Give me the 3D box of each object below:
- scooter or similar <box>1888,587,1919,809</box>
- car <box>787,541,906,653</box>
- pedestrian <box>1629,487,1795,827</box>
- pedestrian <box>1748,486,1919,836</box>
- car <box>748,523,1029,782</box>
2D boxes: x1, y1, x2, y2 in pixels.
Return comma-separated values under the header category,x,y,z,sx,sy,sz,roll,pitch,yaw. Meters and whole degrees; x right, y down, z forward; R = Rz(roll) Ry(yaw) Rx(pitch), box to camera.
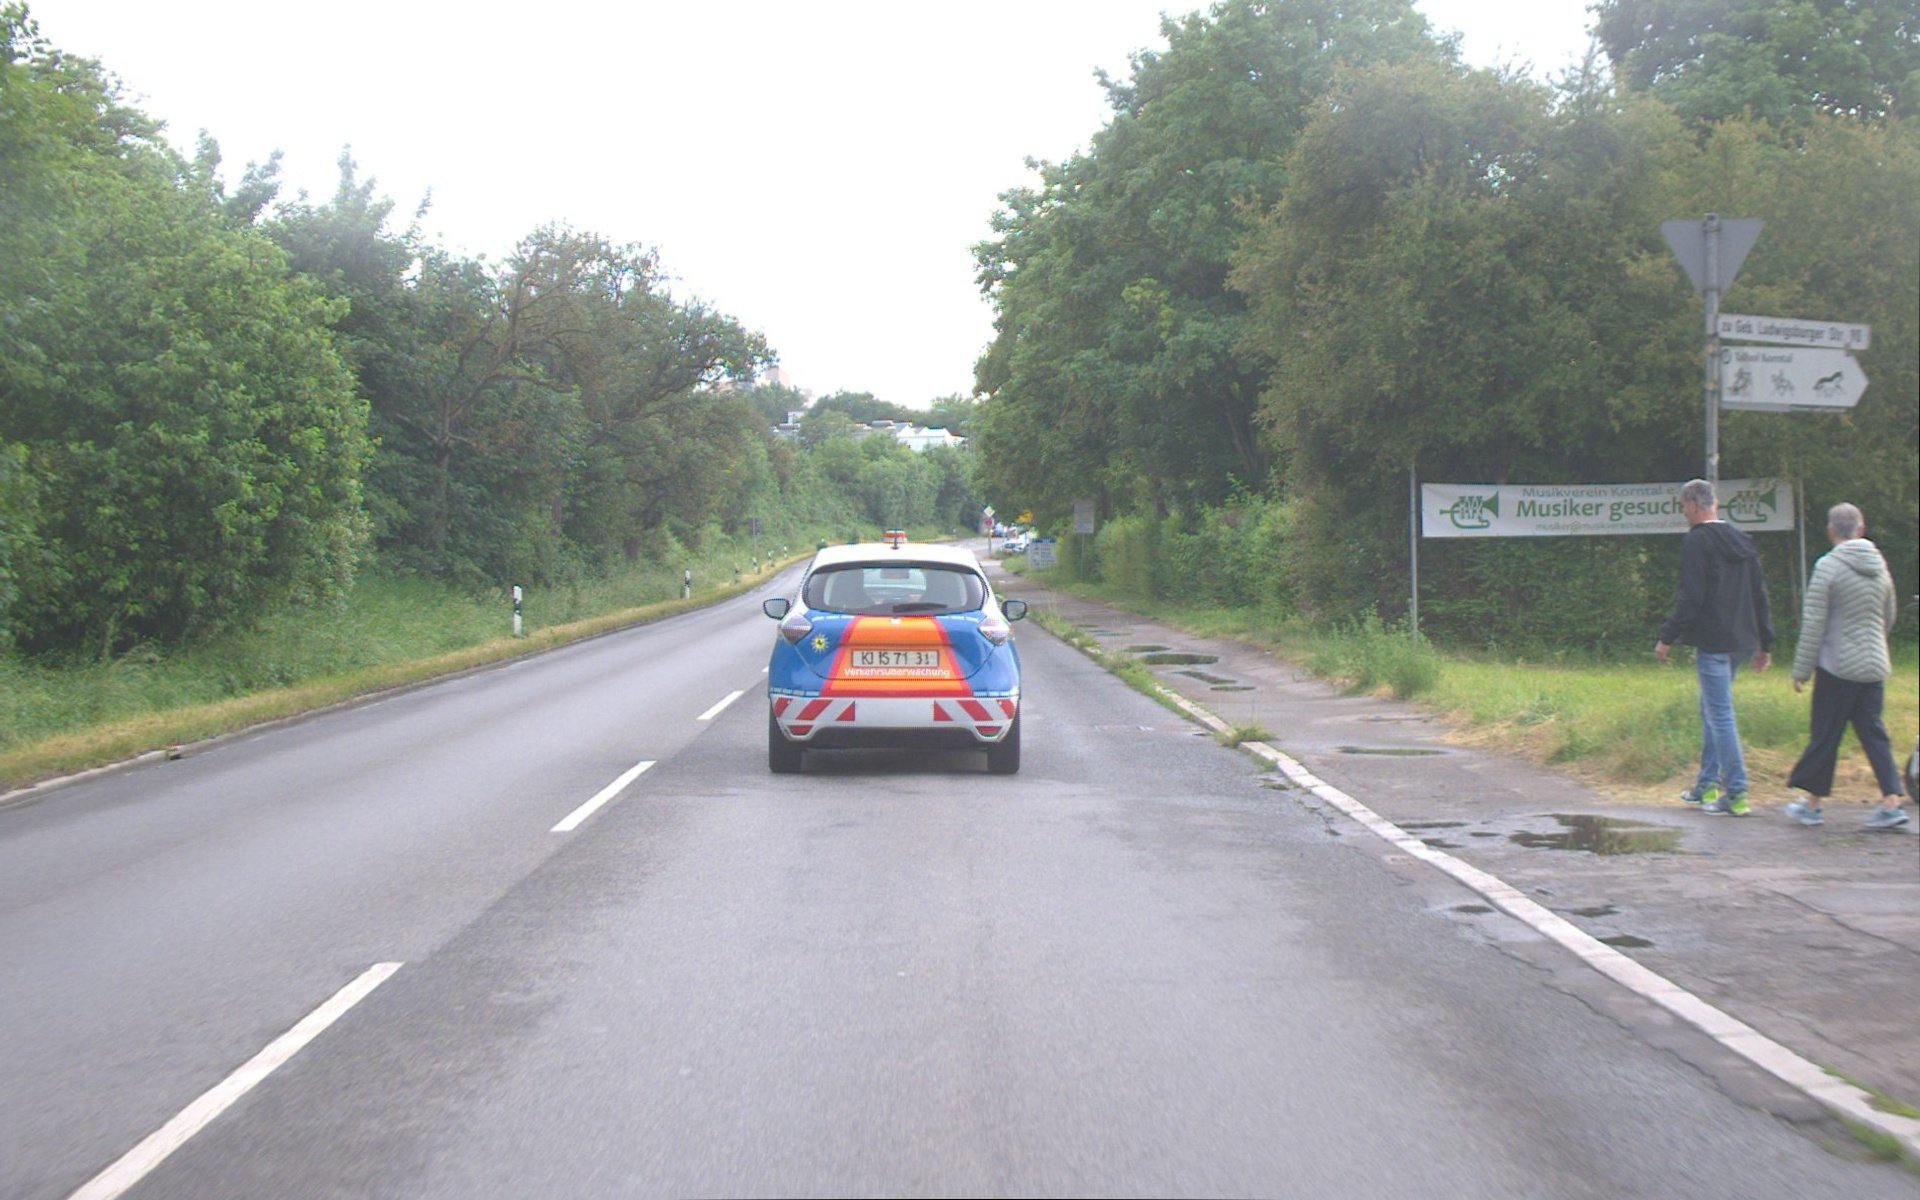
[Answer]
category,x,y,z,sx,sy,sz,roll,pitch,yaw
scooter or similar,5.701,0.526,18.481,1.326,1.202,0.373,-1,1,40
car,-1.688,-0.068,51.734,1.694,1.590,3.856,1,1,-1
pedestrian,4.142,0.303,18.990,0.693,1.821,0.801,-2,0,0
pedestrian,4.546,0.307,17.913,0.661,1.772,0.760,-2,0,0
car,-0.496,0.323,24.450,1.806,1.662,3.856,1,1,-1
